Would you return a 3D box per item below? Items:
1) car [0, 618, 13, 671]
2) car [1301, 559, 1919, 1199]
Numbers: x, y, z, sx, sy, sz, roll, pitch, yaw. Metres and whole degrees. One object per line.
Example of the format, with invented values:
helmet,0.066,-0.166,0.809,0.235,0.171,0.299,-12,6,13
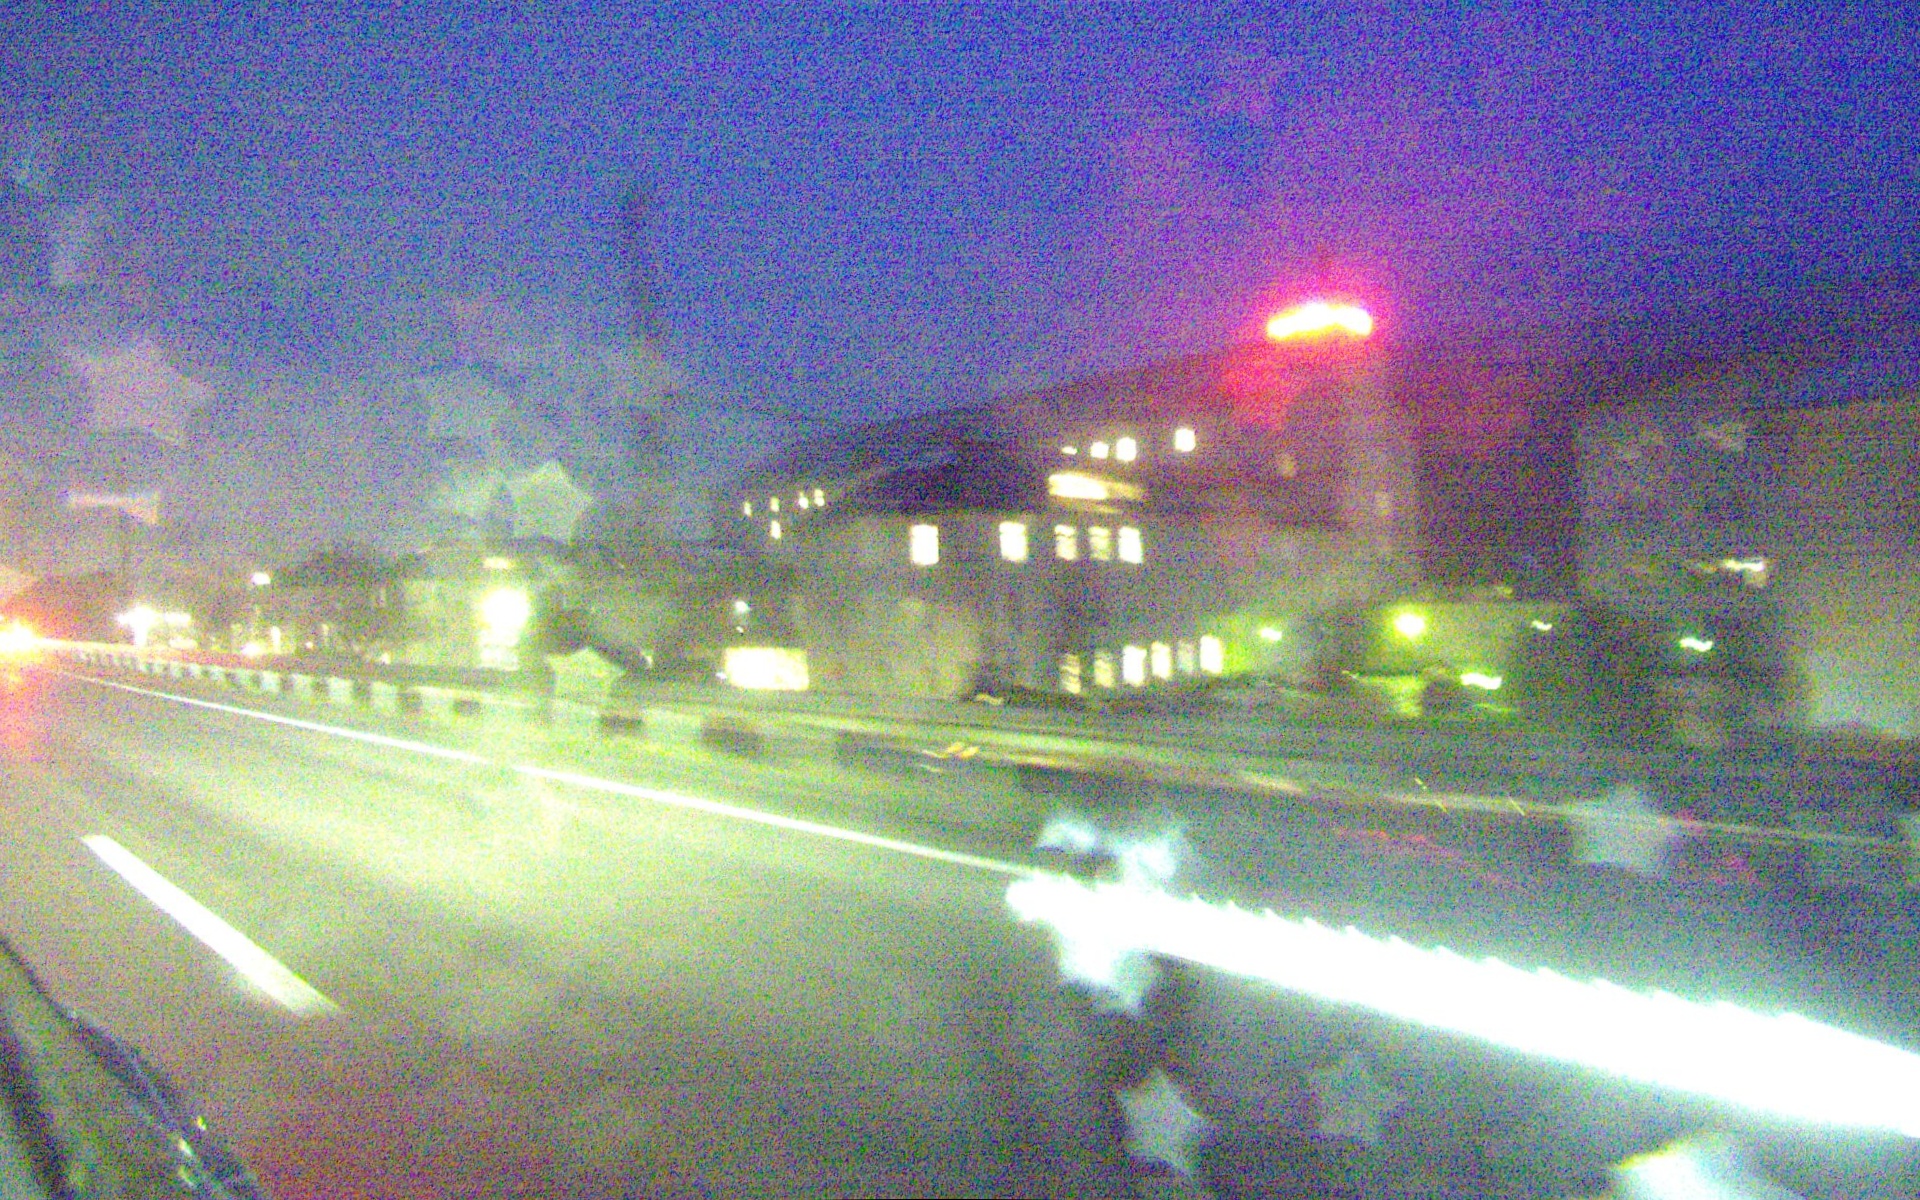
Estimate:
car,-31.249,1.406,31.786,3.845,1.625,1.849,-2,-1,41
car,2.945,0.640,1.276,4.391,1.459,1.849,-2,-1,41
